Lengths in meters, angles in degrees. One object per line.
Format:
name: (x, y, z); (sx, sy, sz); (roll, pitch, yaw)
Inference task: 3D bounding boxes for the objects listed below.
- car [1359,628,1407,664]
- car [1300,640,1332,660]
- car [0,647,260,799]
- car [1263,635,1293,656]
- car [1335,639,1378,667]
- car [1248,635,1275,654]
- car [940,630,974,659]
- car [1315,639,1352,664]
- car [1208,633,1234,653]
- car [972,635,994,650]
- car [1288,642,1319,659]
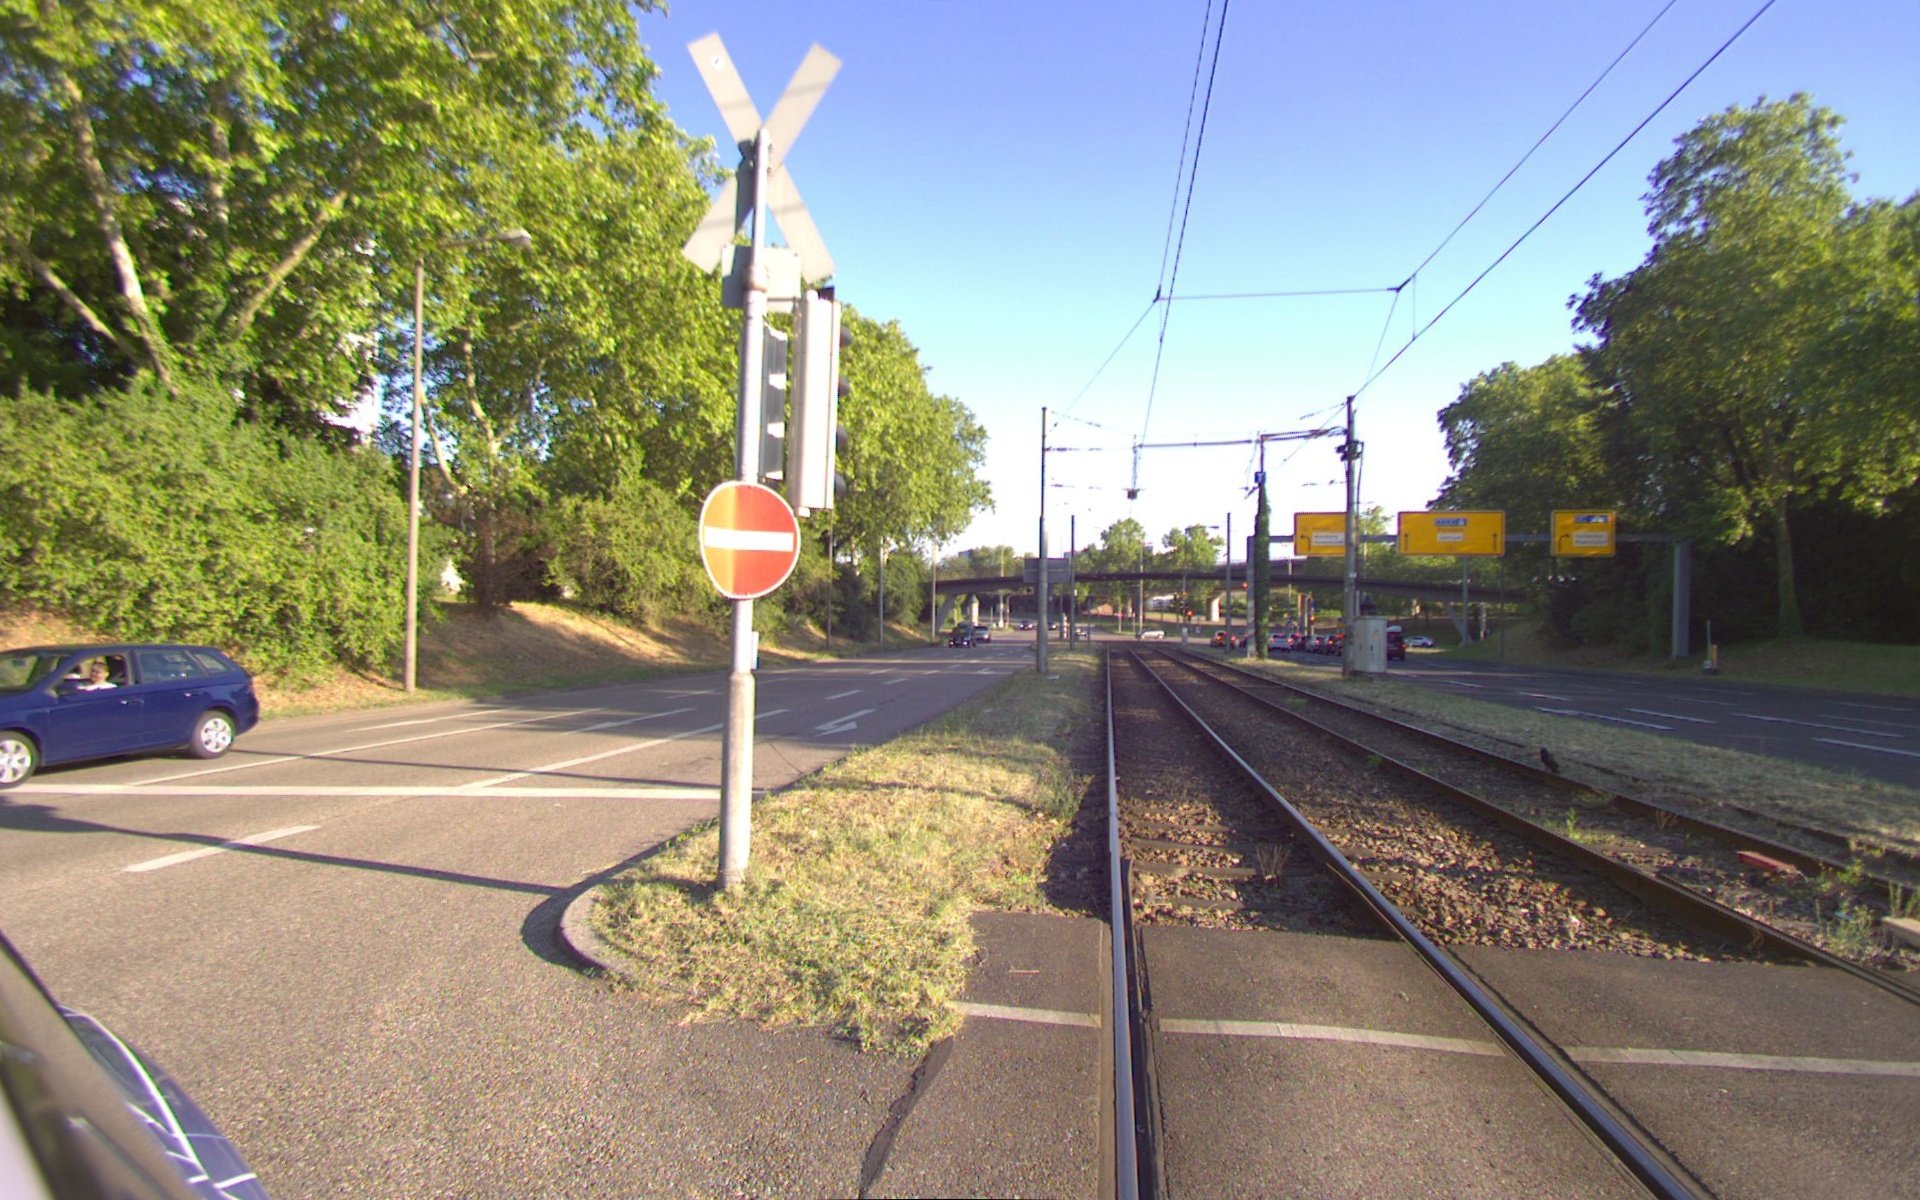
car: (26.326, 2.834, 63.080); (1.777, 2.121, 3.989); (-1, -2, 8)
car: (29.242, 4.092, 83.228); (1.778, 1.493, 3.989); (-1, -2, 9)
car: (-10.246, 1.312, 11.400); (1.611, 1.453, 3.974); (-1, -2, 8)
car: (25.540, 3.604, 81.341); (1.649, 1.577, 4.179); (-1, -2, 9)
car: (27.024, 3.590, 69.073); (1.778, 1.763, 4.229); (-1, -2, 9)
car: (26.277, 3.866, 88.230); (1.729, 1.443, 4.396); (2, -1, 11)
car: (-0.235, 3.505, 79.928); (1.978, 2.179, 4.178); (-1, -2, 10)
car: (27.825, 3.823, 75.541); (1.778, 1.763, 3.989); (-1, -2, 9)
car: (21.948, 3.594, 85.116); (1.649, 1.577, 3.989); (-1, -2, 9)
car: (2.240, 4.083, 97.291); (1.974, 1.452, 4.187); (-1, -2, 3)
car: (30.278, 4.447, 89.317); (1.778, 1.393, 4.464); (-1, -2, 9)
